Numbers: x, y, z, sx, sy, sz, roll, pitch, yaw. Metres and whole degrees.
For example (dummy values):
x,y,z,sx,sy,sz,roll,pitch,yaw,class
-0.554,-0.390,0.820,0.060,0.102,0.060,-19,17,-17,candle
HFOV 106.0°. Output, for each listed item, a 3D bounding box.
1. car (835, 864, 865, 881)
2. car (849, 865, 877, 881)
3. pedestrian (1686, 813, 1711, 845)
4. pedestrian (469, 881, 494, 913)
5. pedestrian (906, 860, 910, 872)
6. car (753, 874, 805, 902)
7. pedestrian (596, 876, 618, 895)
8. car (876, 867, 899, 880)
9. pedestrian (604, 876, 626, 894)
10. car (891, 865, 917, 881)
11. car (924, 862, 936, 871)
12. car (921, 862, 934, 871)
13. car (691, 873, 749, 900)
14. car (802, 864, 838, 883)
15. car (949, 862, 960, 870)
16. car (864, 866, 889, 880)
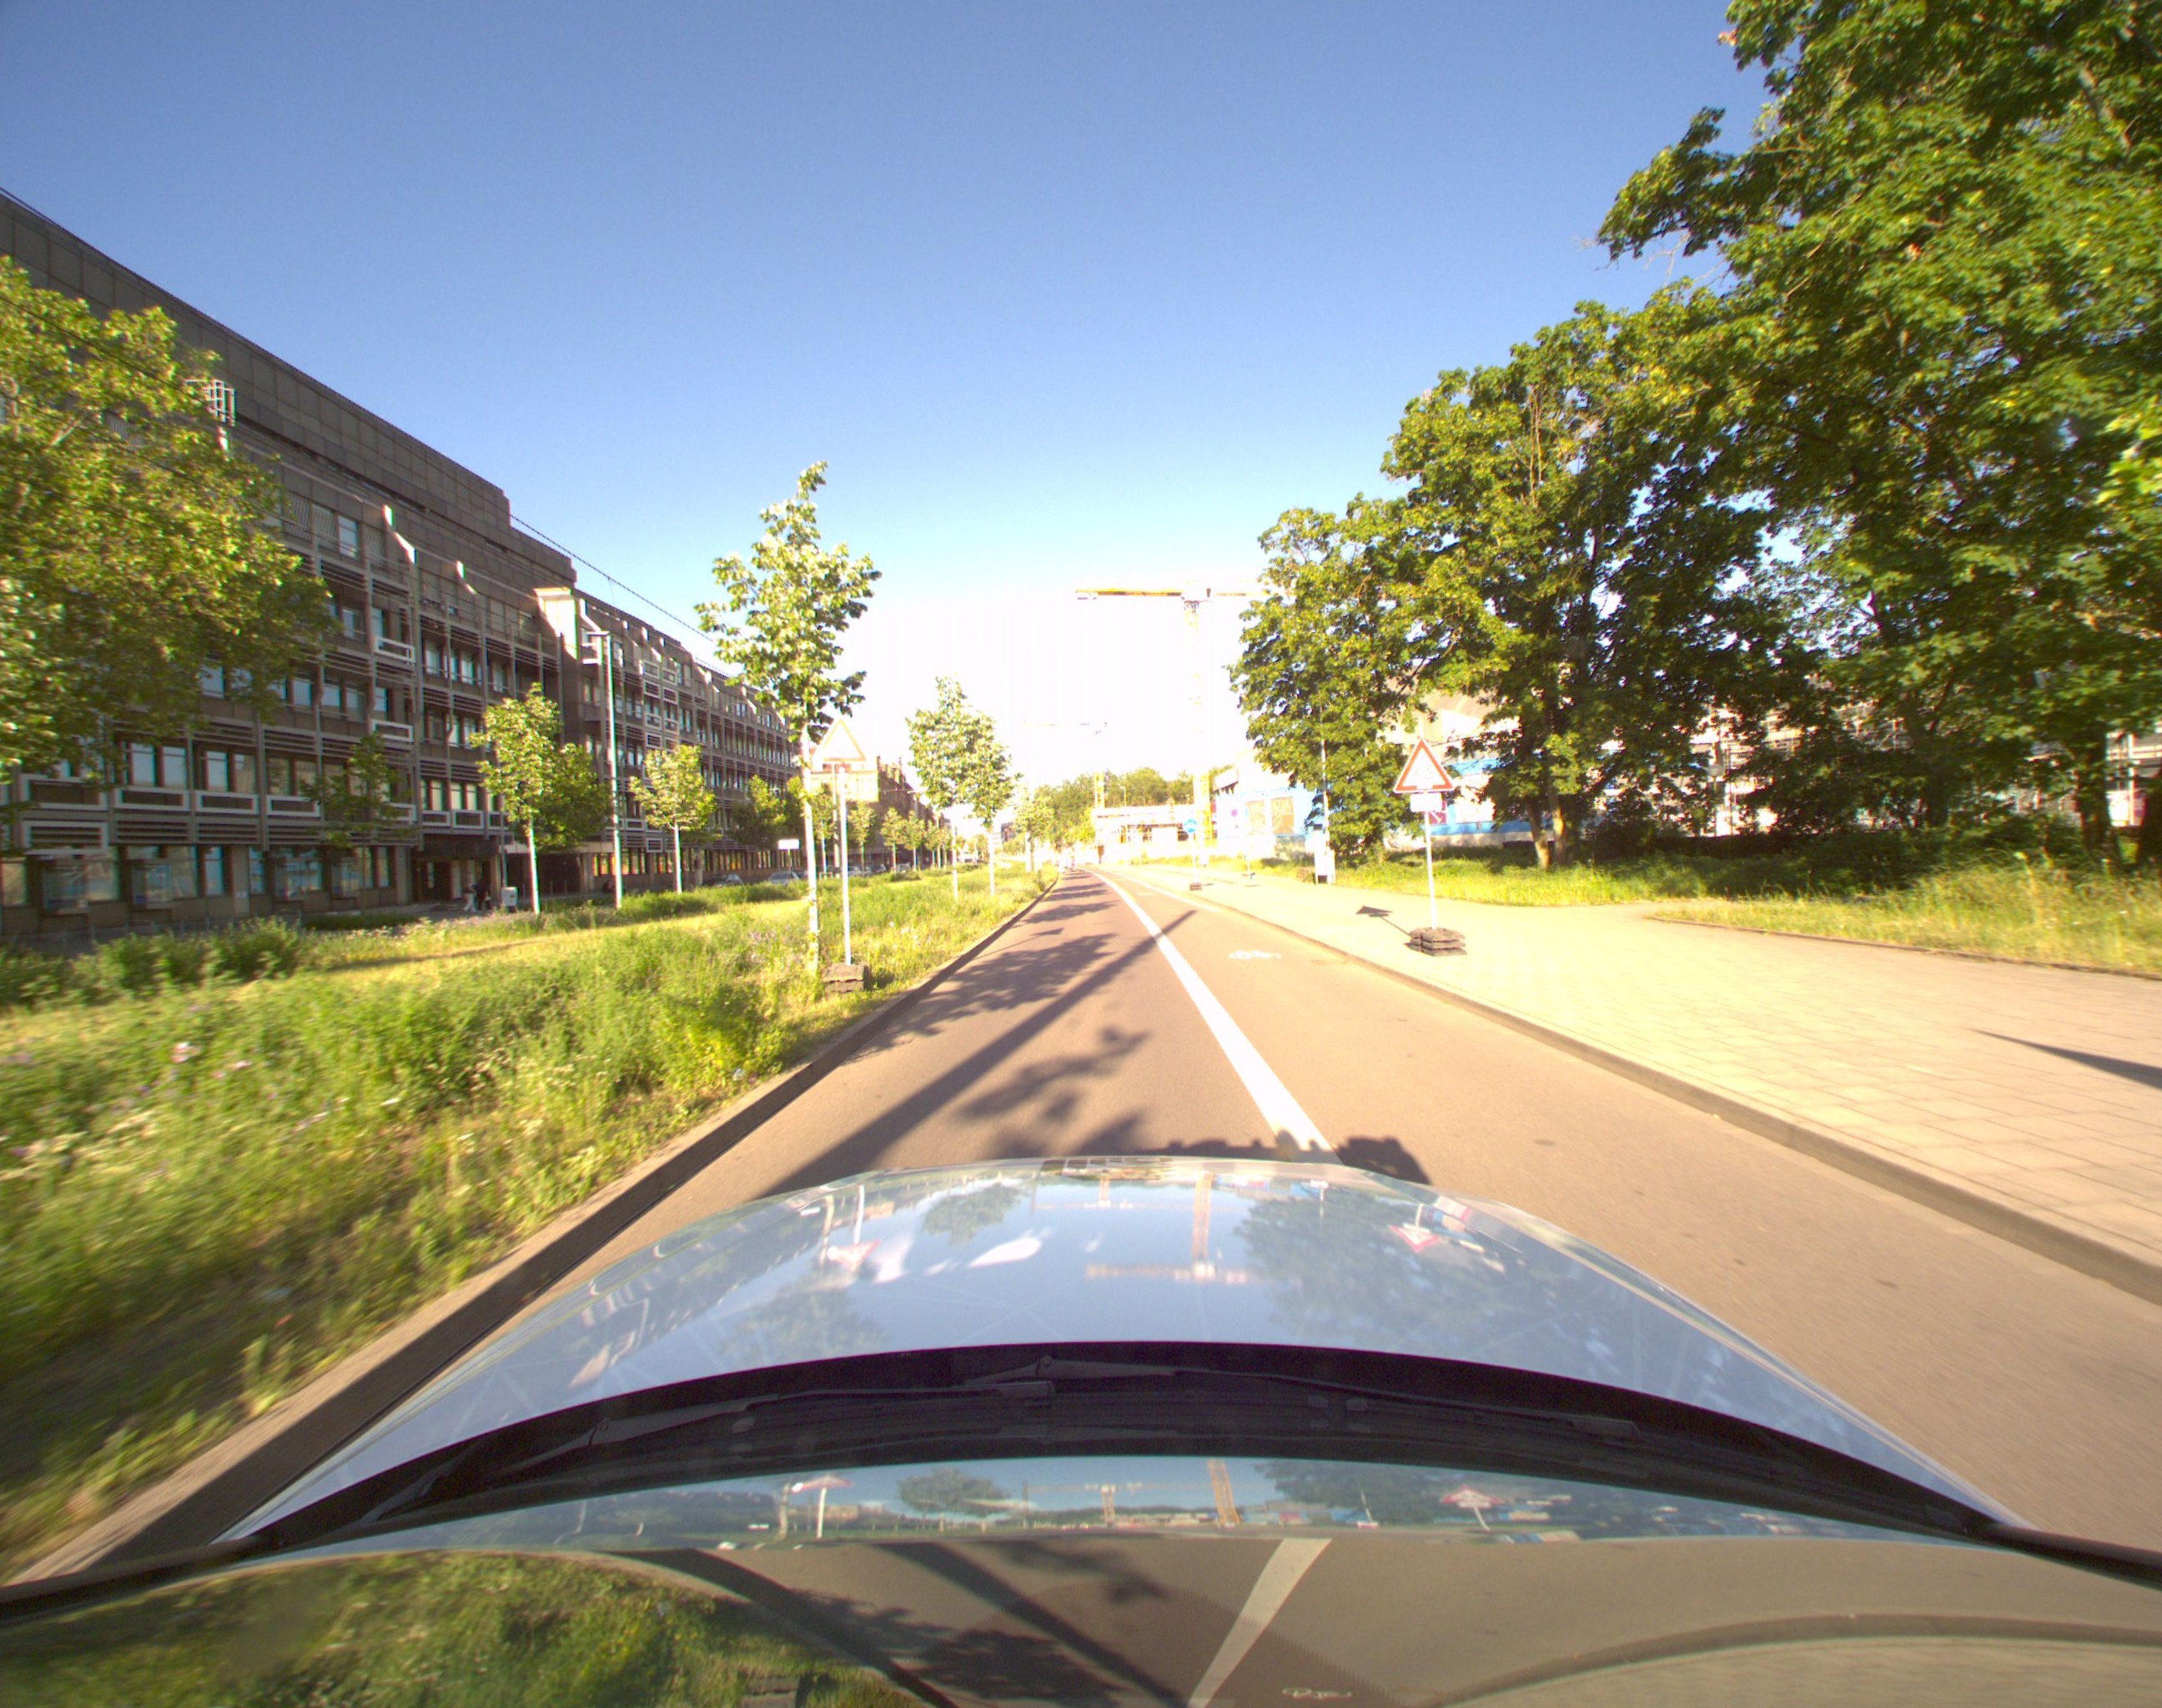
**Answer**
x,y,z,sx,sy,sz,roll,pitch,yaw,class
-24.456,1.970,86.318,1.897,1.575,4.301,-3,0,0,car
-24.679,2.131,92.257,1.897,1.575,4.301,-3,0,0,car
41.077,-1.670,54.180,0.915,2.014,0.941,-2,-2,-27,pedestrian
-29.162,2.083,39.624,0.662,1.532,0.648,-3,0,-4,pedestrian
-29.131,2.063,137.328,0.549,1.947,0.648,-3,0,-7,pedestrian
-19.899,2.202,53.839,1.897,1.575,4.000,-3,0,0,car
-31.471,2.084,54.072,0.897,1.169,0.865,-3,0,0,pedestrian
-25.677,2.573,107.987,1.897,1.575,4.301,-3,0,0,car
-31.562,2.085,55.175,0.896,1.169,0.899,-3,0,2,pedestrian
-19.720,2.057,90.771,1.897,1.575,4.301,-3,0,0,car
-28.171,2.350,151.901,1.901,1.575,4.291,-3,0,-6,car
-27.794,2.212,147.287,1.901,1.575,4.291,-3,0,-6,car
-24.565,2.175,55.607,1.897,1.575,4.301,-3,0,0,car
-24.335,1.773,76.093,1.897,1.575,4.301,-3,0,0,car
-24.924,2.337,160.959,1.901,1.575,4.291,-3,0,-6,car
-25.070,2.343,99.849,1.897,1.575,4.301,-3,0,0,car
